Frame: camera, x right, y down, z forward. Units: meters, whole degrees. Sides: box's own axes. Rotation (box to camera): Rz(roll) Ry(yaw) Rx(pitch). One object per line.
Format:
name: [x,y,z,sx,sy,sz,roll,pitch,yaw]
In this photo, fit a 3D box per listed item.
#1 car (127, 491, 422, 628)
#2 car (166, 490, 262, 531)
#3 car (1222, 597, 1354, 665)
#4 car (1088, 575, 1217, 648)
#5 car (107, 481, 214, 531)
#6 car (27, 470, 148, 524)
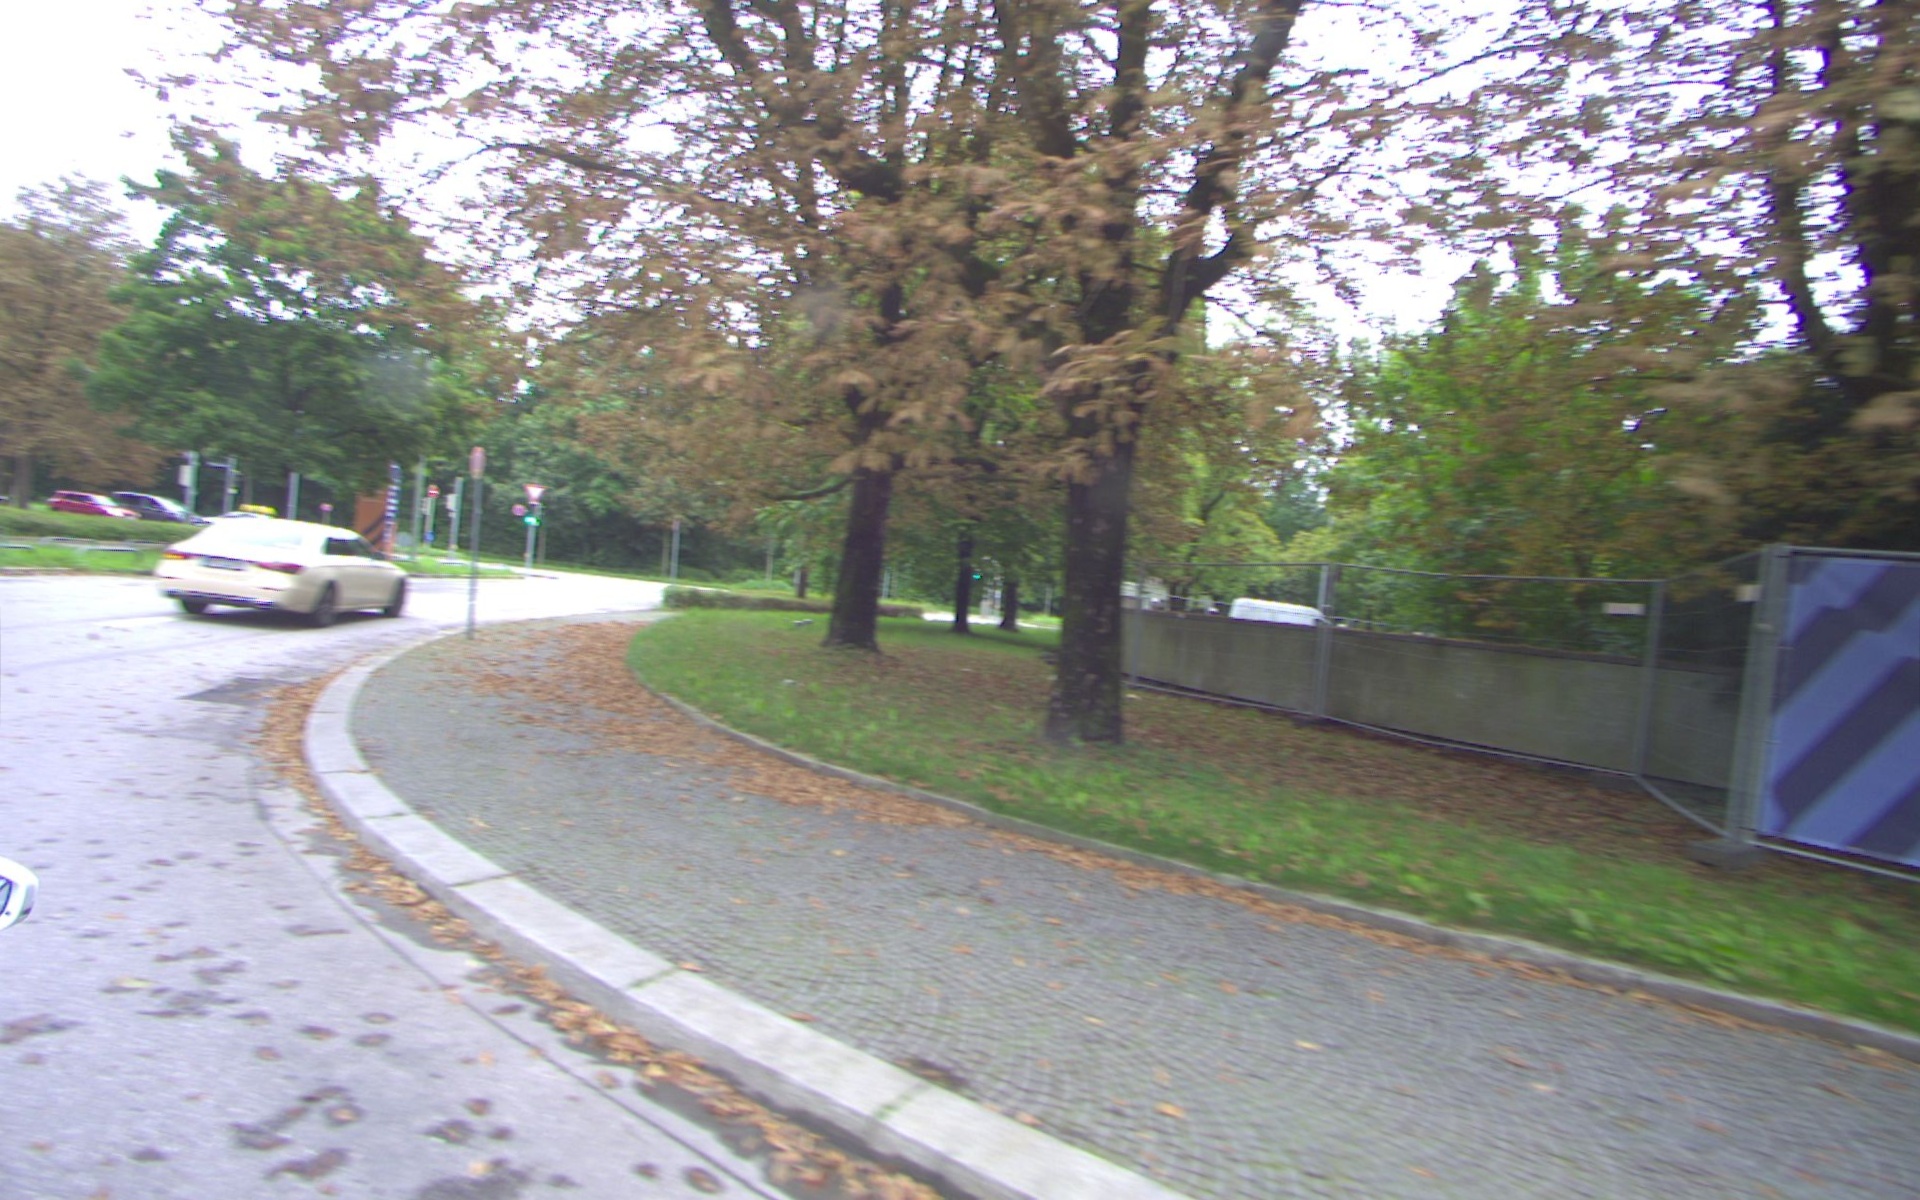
car: [-10.156,-0.558,15.451,1.862,1.564,4.843,6,0,-11]
car: [-44.124,-5.270,59.567,4.048,1.772,1.999,6,1,0]
car: [15.549,1.448,47.946,5.356,2.613,2.076,6,1,0]
car: [9.069,0.531,47.738,5.492,2.769,2.076,6,1,0]
car: [-42.871,-5.031,54.019,3.929,2.039,1.998,6,1,-5]
car: [-43.990,-5.149,50.820,4.083,2.039,1.998,6,1,-5]
